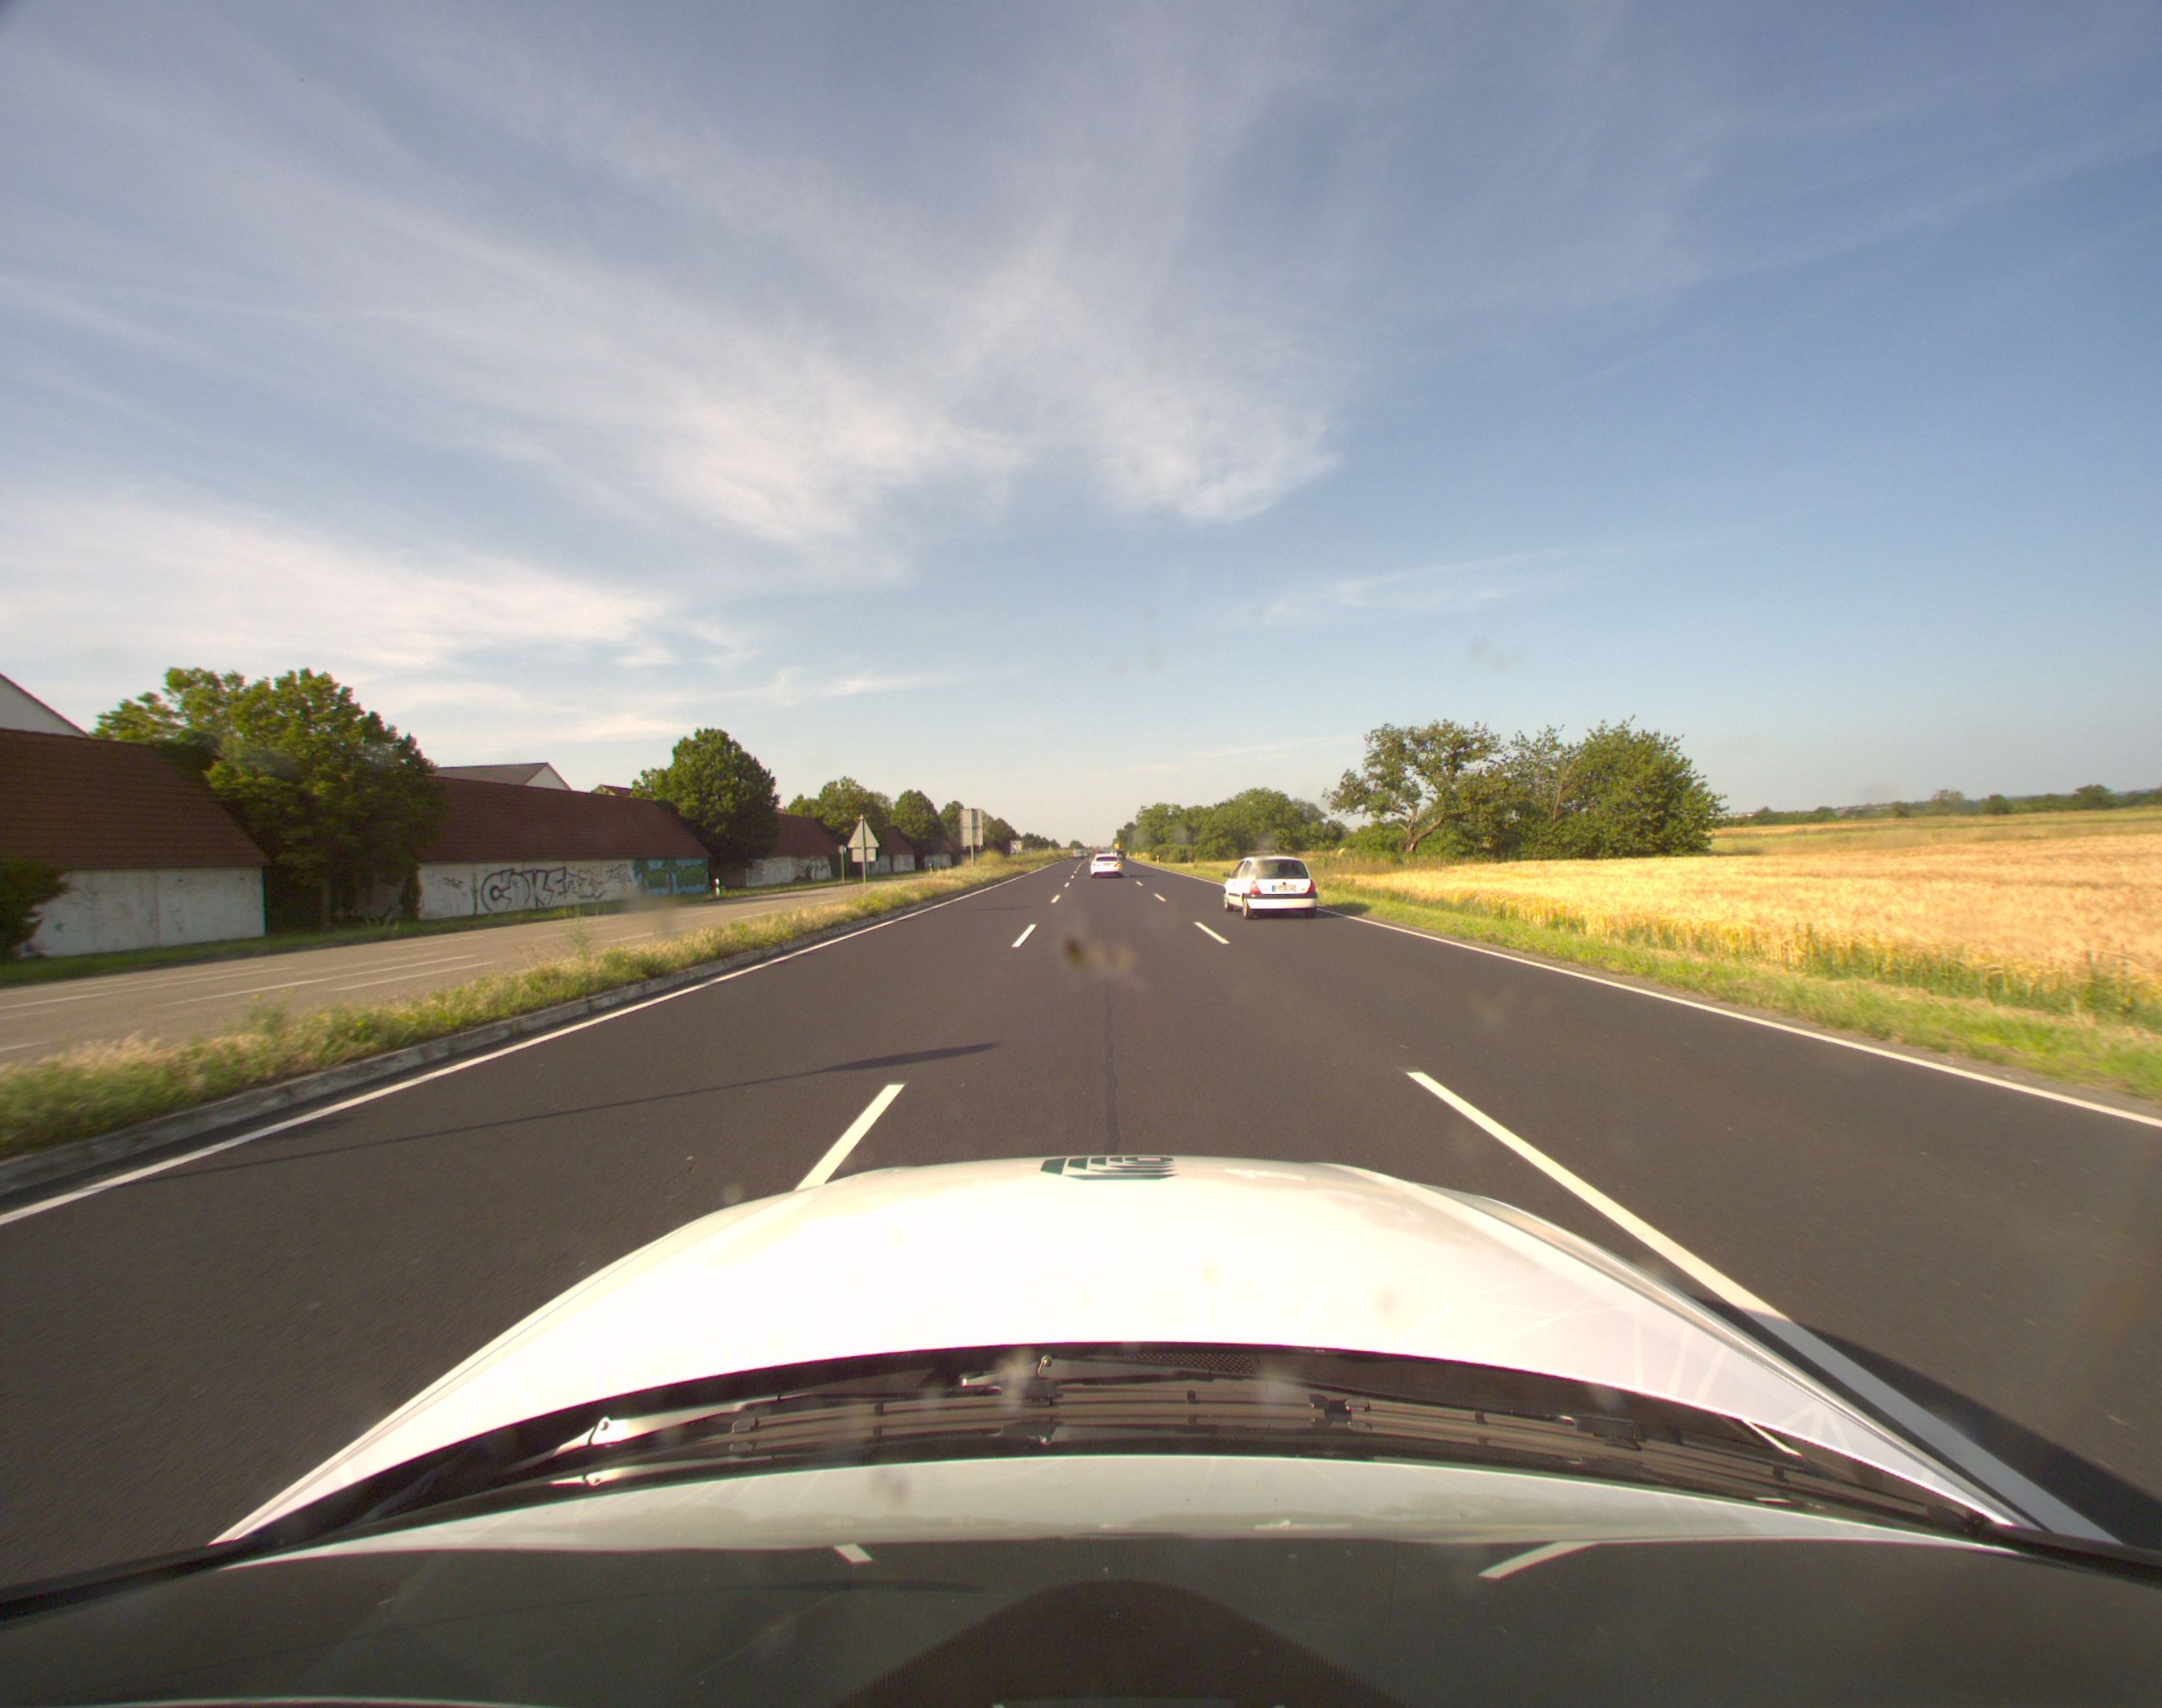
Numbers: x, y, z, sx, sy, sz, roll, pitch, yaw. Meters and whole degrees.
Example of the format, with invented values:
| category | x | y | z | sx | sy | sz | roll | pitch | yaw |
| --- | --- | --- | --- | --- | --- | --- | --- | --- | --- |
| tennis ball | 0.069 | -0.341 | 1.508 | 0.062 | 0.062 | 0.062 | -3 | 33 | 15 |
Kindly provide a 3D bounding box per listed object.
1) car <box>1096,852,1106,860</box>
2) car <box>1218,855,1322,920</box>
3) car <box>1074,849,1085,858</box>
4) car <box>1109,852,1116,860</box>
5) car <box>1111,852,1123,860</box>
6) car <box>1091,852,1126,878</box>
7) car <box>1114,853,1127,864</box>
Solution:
| category | x | y | z | sx | sy | sz | roll | pitch | yaw |
| --- | --- | --- | --- | --- | --- | --- | --- | --- | --- |
| car | 3.686 | 0.410 | 151.654 | 1.806 | 1.436 | 3.858 | -1 | -1 | 1 |
| car | 4.369 | 0.736 | 19.392 | 1.611 | 1.387 | 3.952 | -1 | -1 | 1 |
| car | -0.253 | -0.062 | 148.349 | 1.751 | 1.618 | 4.003 | -1 | -1 | 3 |
| car | 8.287 | 0.518 | 211.658 | 1.796 | 1.904 | 3.562 | -1 | -1 | 3 |
| car | 7.265 | 0.418 | 164.646 | 1.988 | 1.585 | 4.282 | -1 | -1 | -1 |
| car | 1.665 | 0.672 | 49.353 | 1.986 | 1.516 | 4.001 | -1 | -1 | 1 |
| car | 6.233 | 0.754 | 128.533 | 1.821 | 1.728 | 4.001 | -1 | -1 | 1 |
